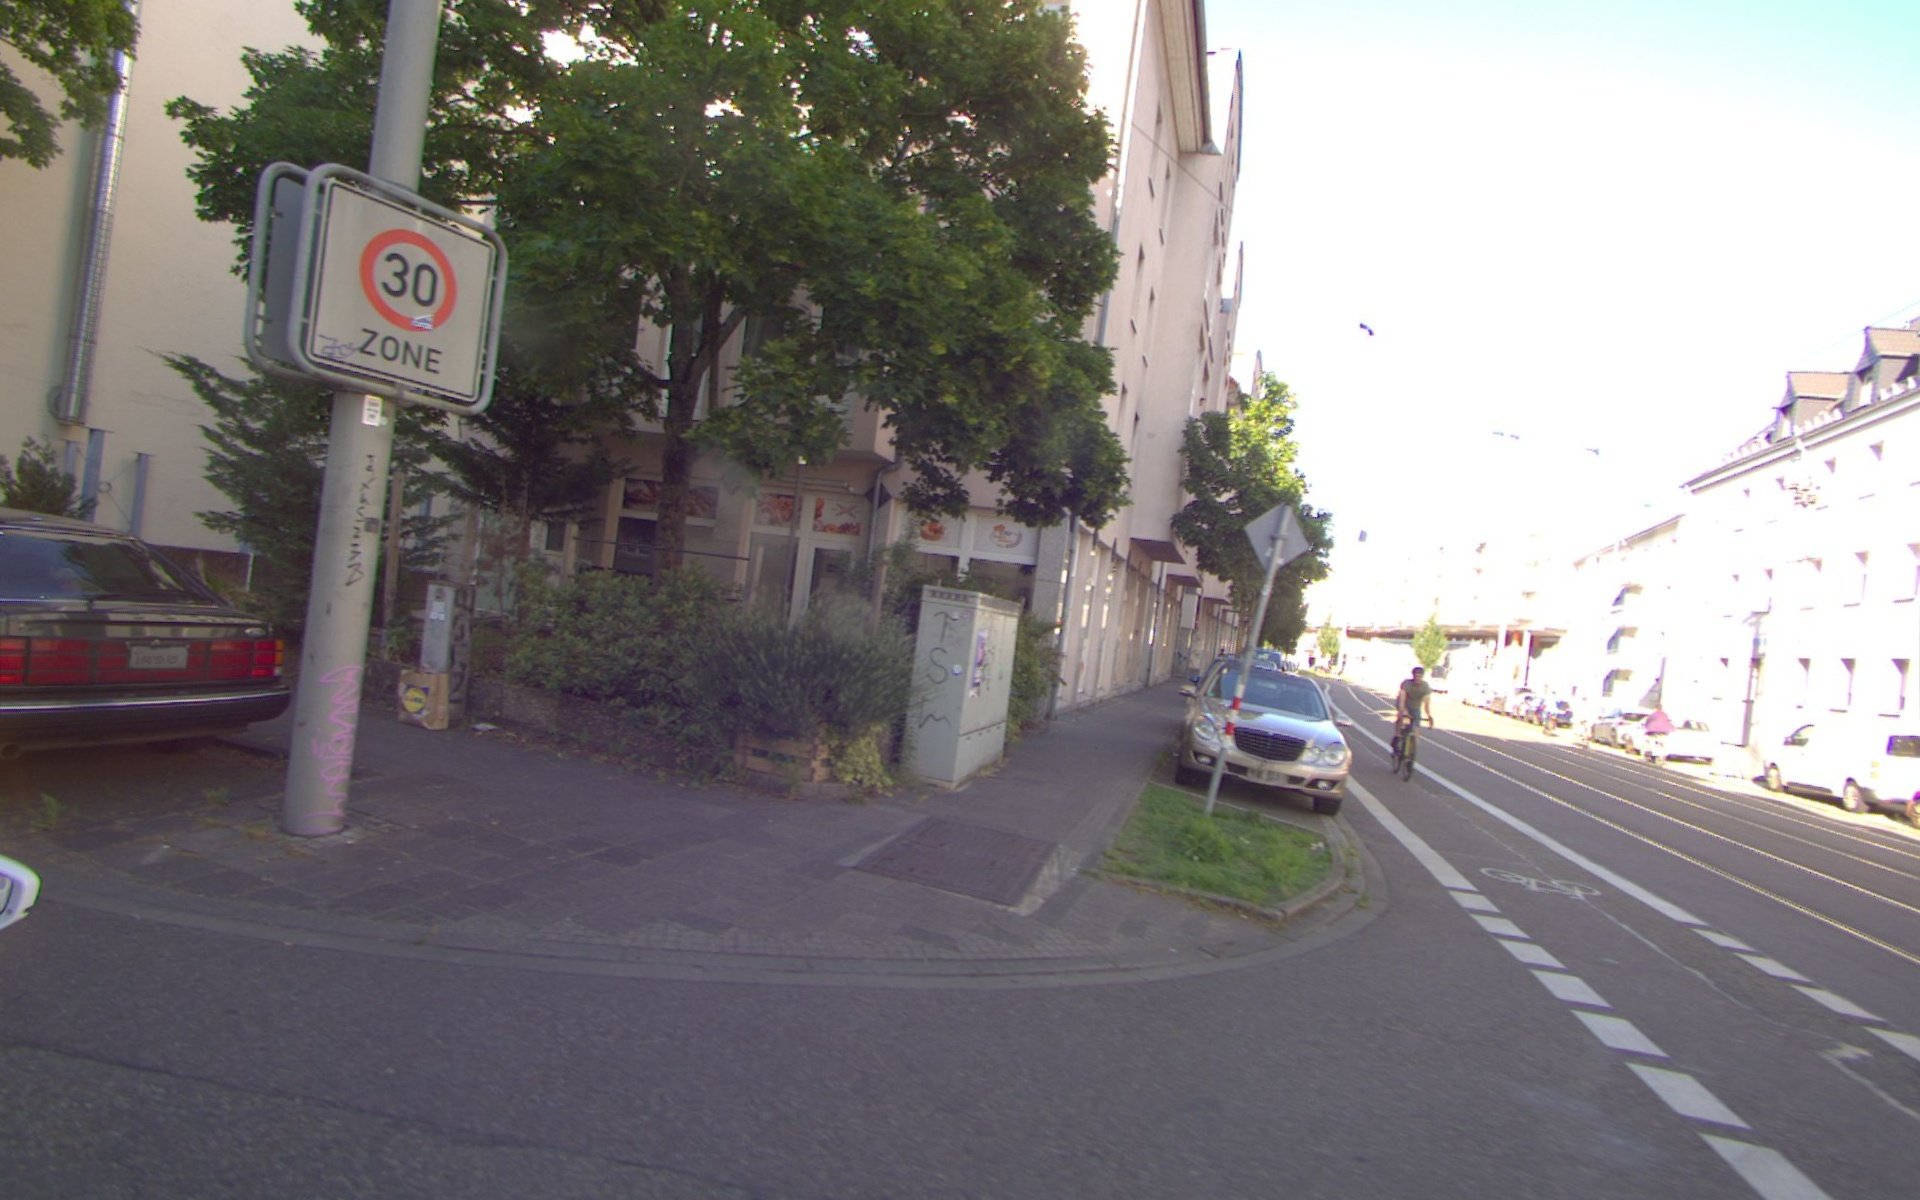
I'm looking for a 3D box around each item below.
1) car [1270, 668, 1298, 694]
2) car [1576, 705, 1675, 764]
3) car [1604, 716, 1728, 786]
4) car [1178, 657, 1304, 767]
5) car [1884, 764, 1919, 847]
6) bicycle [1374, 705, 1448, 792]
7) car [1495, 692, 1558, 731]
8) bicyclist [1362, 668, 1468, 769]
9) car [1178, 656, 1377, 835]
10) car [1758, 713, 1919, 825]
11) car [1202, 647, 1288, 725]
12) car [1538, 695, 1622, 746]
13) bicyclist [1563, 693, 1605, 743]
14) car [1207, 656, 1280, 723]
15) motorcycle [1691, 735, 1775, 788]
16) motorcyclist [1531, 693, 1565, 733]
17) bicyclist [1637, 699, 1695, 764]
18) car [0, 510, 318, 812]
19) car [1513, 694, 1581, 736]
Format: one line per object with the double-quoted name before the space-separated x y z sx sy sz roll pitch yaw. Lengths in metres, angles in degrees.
"car" 23.011 5.709 71.545 1.566 1.559 3.193 7 -1 15
"car" 25.198 5.040 38.249 1.815 1.665 3.965 7 -1 15
"car" 23.688 5.025 33.983 1.815 1.665 4.552 7 -1 15
"car" 4.931 1.873 17.891 1.801 1.507 4.003 5 -1 14
"car" 19.044 3.966 18.257 1.767 1.500 3.783 3 -3 15
"bicycle" 7.051 2.282 15.809 0.612 1.115 1.962 6 -1 14
"car" 31.394 6.166 55.898 1.815 1.665 4.552 7 -1 15
"bicyclist" 7.136 1.832 15.857 1.164 1.346 1.096 7 0 13
"car" 3.689 1.573 12.176 1.717 1.459 4.003 11 0 14
"car" 20.501 3.813 23.121 1.758 1.994 4.157 6 -1 16
"car" 7.331 2.144 25.849 1.801 1.612 4.002 7 -1 17
"car" 26.282 5.077 42.791 1.815 1.665 3.968 7 -1 15
"bicyclist" 20.388 3.839 32.871 0.716 1.480 1.021 7 0 14
"car" 8.436 2.624 30.234 1.801 1.612 4.003 7 -1 14
"motorcycle" 21.761 4.528 28.358 0.486 1.158 1.760 7 -1 -24
"motorcyclist" 22.793 4.371 38.989 0.716 1.422 1.021 7 0 14
"bicyclist" 20.551 3.817 29.310 0.919 1.696 0.970 7 0 14
"car" -6.333 0.101 6.108 4.486 1.404 1.714 7 -1 22
"car" 29.603 5.771 50.826 1.815 1.665 3.968 7 -1 15
